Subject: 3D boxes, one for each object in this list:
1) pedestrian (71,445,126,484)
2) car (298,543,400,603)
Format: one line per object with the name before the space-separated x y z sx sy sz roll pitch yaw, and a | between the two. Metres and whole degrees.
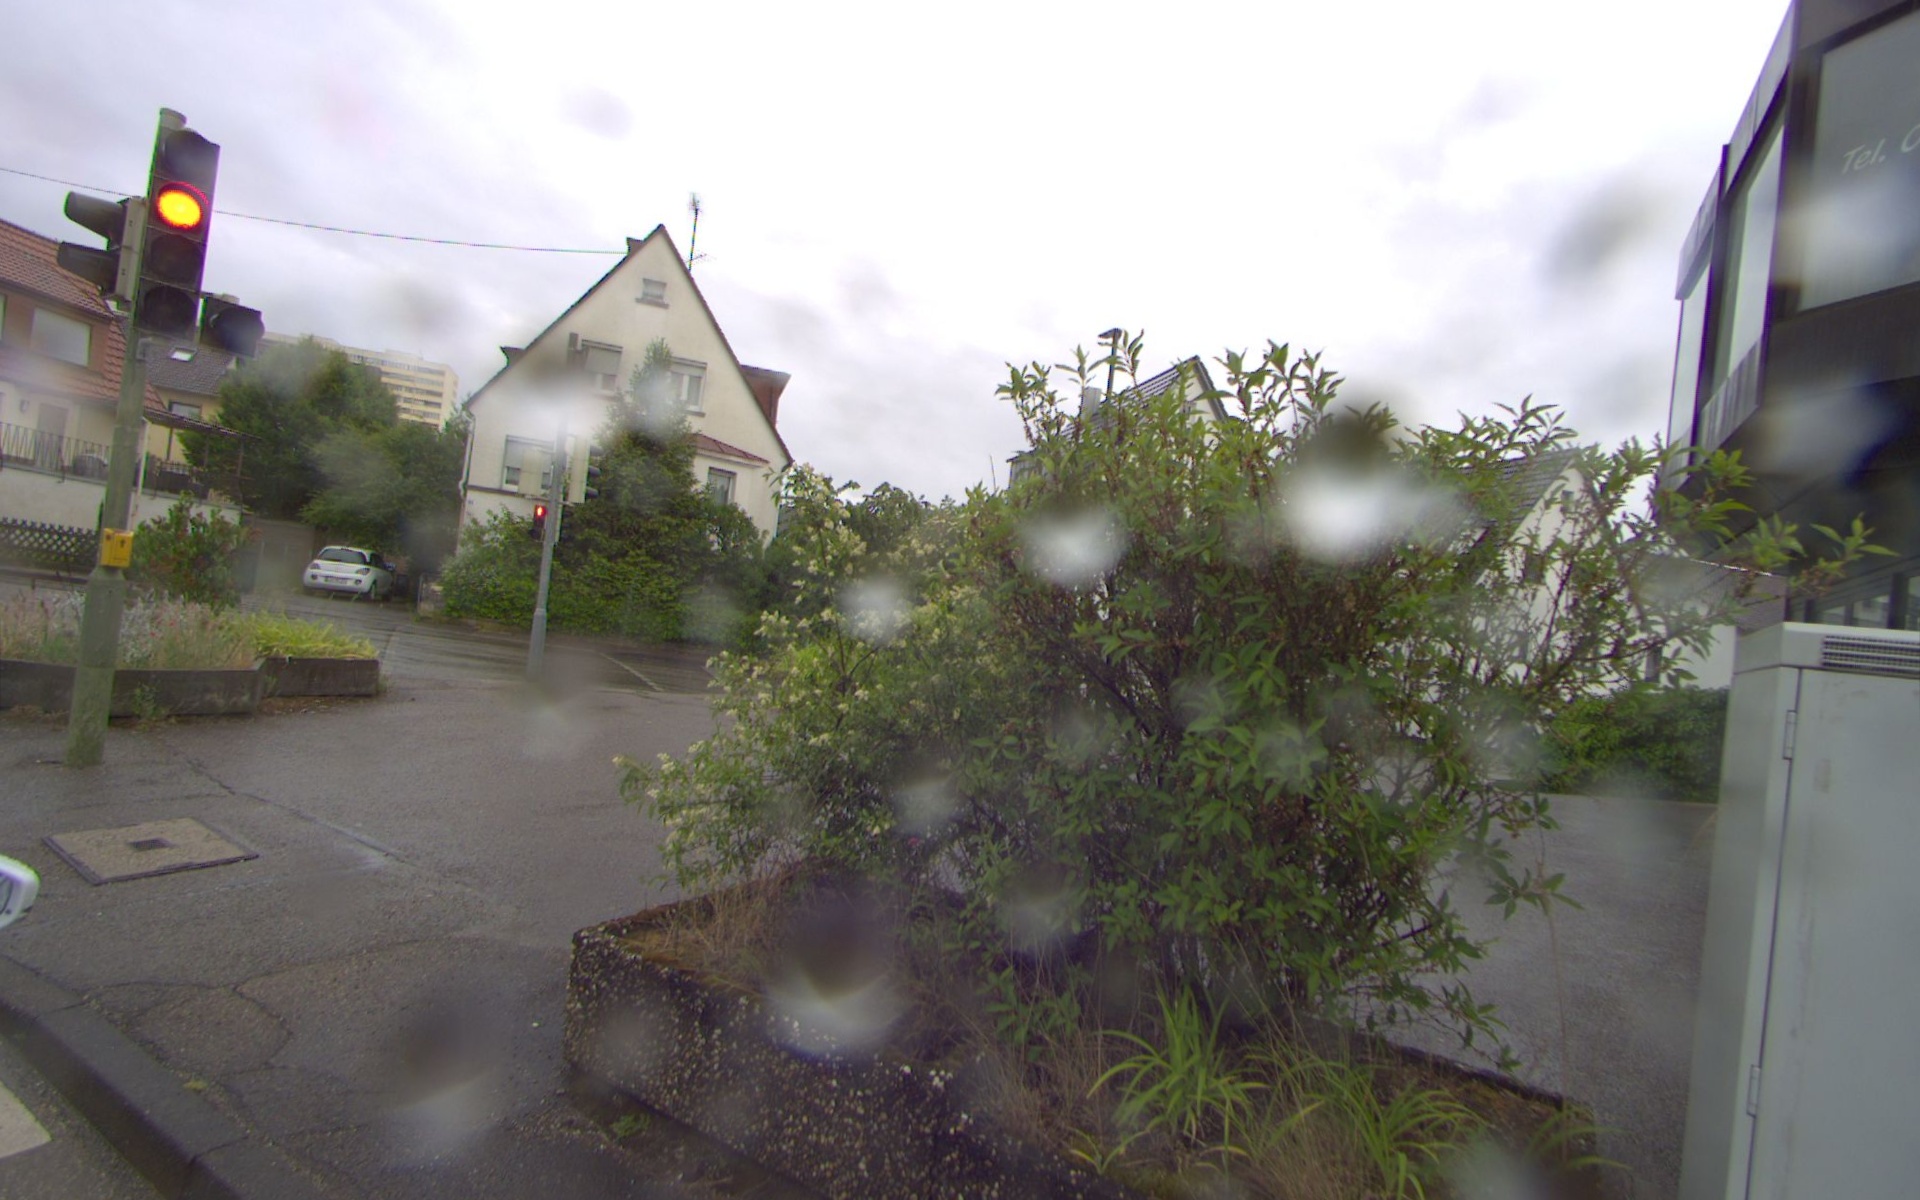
pedestrian | -24.276 -3.809 28.363 0.623 0.893 0.920 5 -2 13
car | -17.760 -0.752 29.414 1.794 1.378 3.981 8 -2 -22
